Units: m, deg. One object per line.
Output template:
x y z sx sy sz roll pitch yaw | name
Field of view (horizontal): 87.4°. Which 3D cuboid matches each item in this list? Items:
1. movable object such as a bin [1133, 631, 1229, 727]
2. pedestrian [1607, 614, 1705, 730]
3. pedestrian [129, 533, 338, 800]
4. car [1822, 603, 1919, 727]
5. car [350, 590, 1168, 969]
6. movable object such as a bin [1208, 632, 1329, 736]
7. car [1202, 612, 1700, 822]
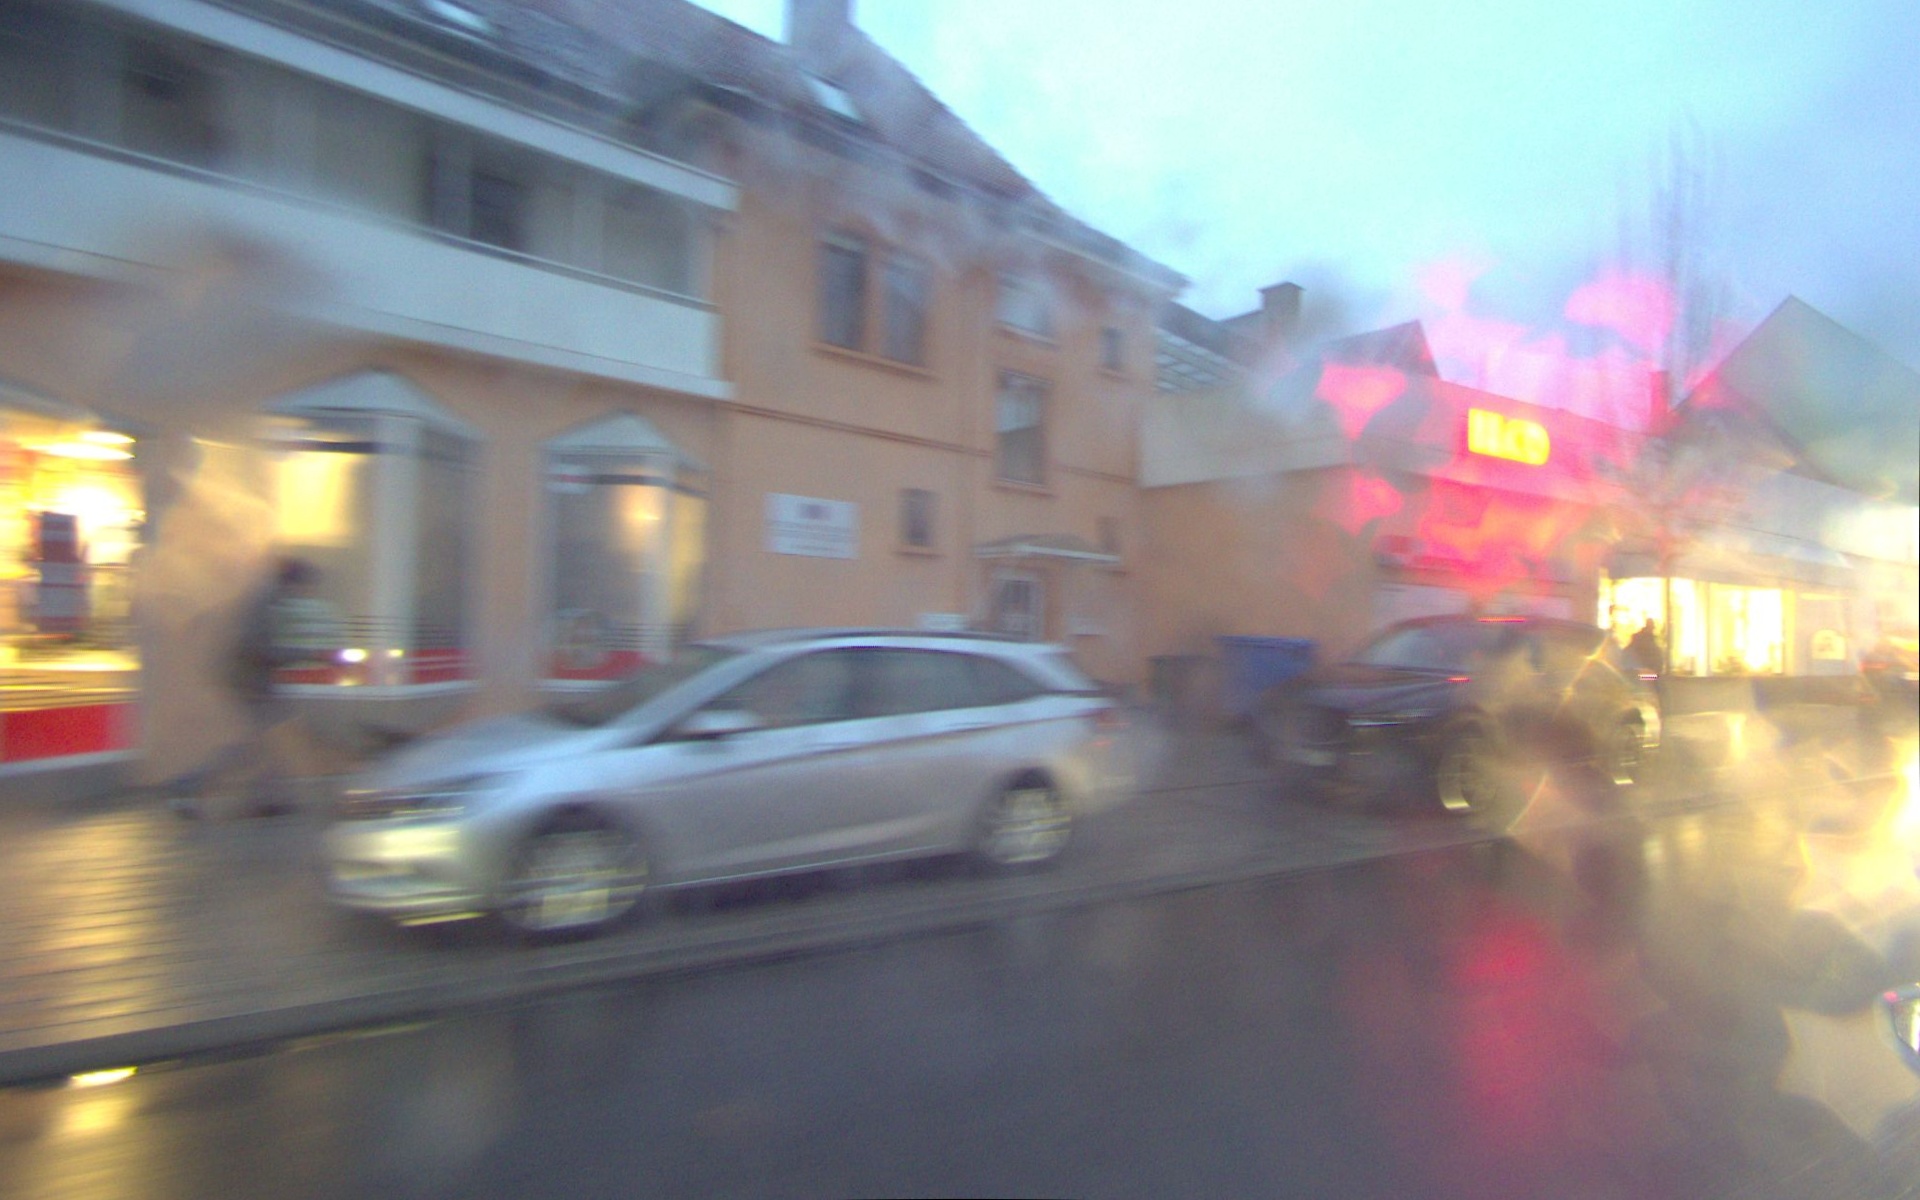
3.357 1.169 15.280 0.845 1.372 1.139 2 -1 -42 | movable object such as a bin
11.814 1.192 17.071 0.925 1.901 1.012 1 -1 -6 | pedestrian
-4.986 0.427 6.970 1.086 1.680 0.821 2 0 -34 | pedestrian
16.010 0.994 16.250 4.976 1.816 2.071 1 0 -37 | car
-1.097 0.797 6.251 4.569 1.579 1.983 2 0 -32 | car
4.313 1.164 14.084 0.882 1.371 1.329 2 -5 -41 | movable object such as a bin
4.806 0.943 9.584 4.923 1.542 1.983 2 -1 -32 | car
